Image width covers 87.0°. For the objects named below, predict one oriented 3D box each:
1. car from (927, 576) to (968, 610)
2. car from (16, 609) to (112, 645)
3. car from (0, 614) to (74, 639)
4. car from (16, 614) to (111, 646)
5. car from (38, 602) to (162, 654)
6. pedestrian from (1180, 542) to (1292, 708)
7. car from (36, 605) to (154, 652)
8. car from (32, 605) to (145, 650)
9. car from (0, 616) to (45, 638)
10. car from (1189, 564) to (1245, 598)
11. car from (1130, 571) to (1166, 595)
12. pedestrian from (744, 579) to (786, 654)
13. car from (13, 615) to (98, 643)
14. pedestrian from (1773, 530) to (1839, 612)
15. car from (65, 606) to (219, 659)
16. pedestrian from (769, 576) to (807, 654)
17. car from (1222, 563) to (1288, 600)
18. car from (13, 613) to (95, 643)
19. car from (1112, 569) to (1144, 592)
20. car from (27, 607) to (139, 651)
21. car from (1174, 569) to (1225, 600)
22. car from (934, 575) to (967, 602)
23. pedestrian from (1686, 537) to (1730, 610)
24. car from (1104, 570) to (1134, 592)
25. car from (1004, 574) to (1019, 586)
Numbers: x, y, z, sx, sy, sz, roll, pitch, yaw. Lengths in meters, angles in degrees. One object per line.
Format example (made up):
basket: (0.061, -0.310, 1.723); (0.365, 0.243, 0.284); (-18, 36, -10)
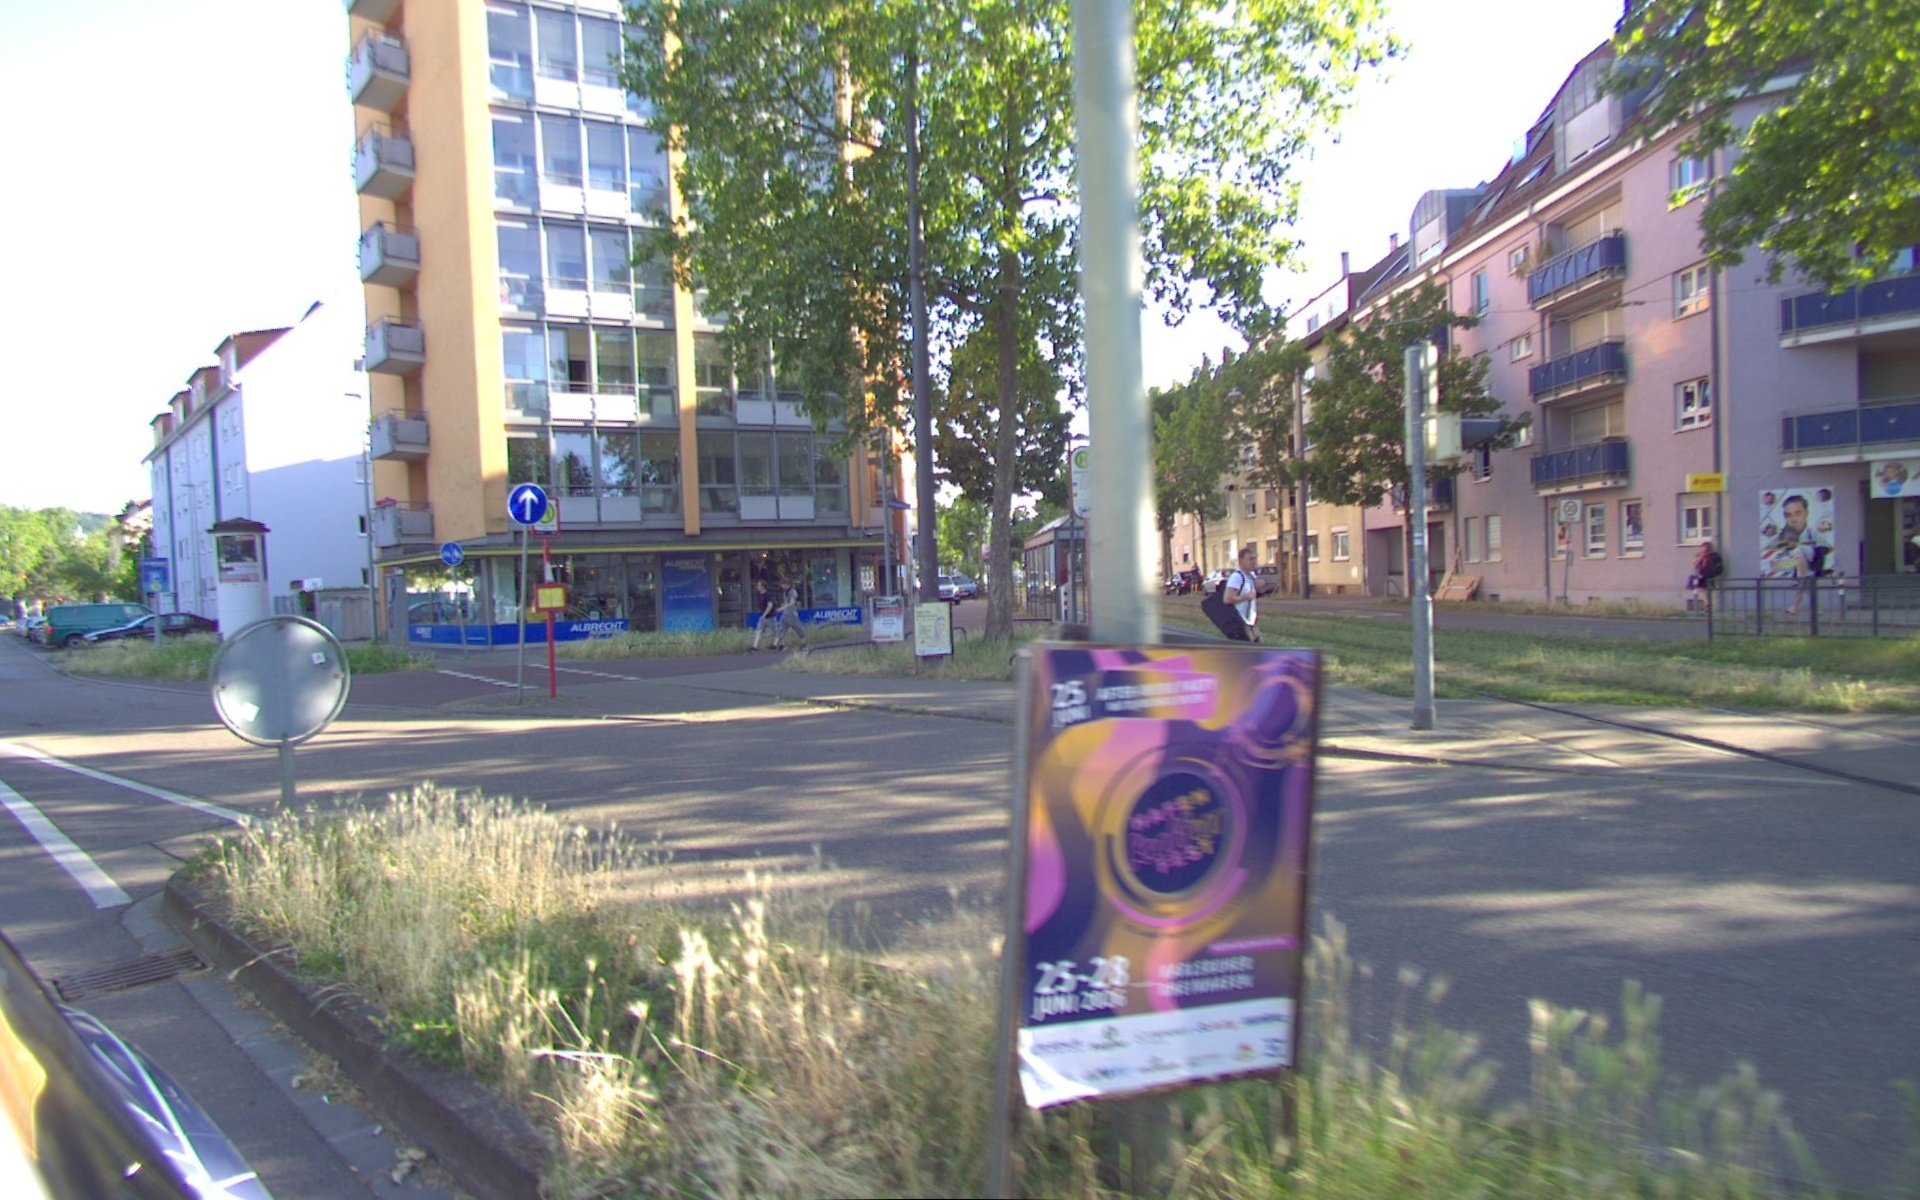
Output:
car: (-0.685, -0.401, 52.505); (2.021, 1.588, 4.048); (-2, 2, -1)
car: (-52.027, 1.541, 58.813); (4.060, 1.785, 1.758); (-4, 2, -43)
car: (-68.940, 1.975, 75.447); (4.198, 1.584, 1.868); (-4, 2, -43)
car: (-53.965, 1.755, 60.967); (4.198, 1.584, 1.868); (-4, 2, -43)
car: (-37.532, 1.185, 44.202); (3.941, 1.962, 2.002); (-4, 2, -44)
pedestrian: (3.094, 0.258, 11.290); (1.080, 1.750, 0.897); (-1, 2, 21)
car: (-39.347, 1.259, 46.060); (3.940, 1.829, 2.002); (-4, 2, -43)
car: (-41.330, 1.268, 48.060); (3.940, 1.829, 2.002); (-4, 2, -43)
car: (-79.915, 2.290, 85.745); (3.489, 1.584, 1.868); (-4, 2, -43)
car: (13.903, -1.064, 54.969); (1.911, 1.718, 3.826); (-2, 2, -1)
car: (13.709, -1.256, 74.045); (1.742, 1.588, 4.048); (-2, 2, -1)
pedestrian: (-4.676, 0.389, 24.292); (0.803, 1.763, 0.538); (-2, 2, 8)
car: (-61.291, 1.911, 68.610); (4.198, 1.584, 1.868); (-4, 2, -43)
pedestrian: (17.878, -0.610, 21.388); (0.911, 1.679, 0.621); (-2, 2, -13)
car: (-30.754, 1.168, 38.181); (4.360, 1.674, 2.004); (-4, 2, -39)
pedestrian: (-4.000, 0.346, 23.543); (0.623, 1.763, 0.688); (-2, 2, 8)
car: (14.617, -0.942, 50.395); (1.911, 1.718, 4.113); (-2, 2, -1)
car: (-61.424, 1.882, 68.666); (4.015, 1.764, 1.901); (-4, 2, -43)
car: (13.437, -1.562, 81.152); (1.809, 1.718, 4.058); (-2, 2, -1)
car: (-43.020, 1.389, 49.692); (4.002, 1.829, 1.939); (-4, 2, -43)
car: (14.048, -0.934, 59.585); (1.911, 1.718, 4.113); (-2, 2, -1)
car: (-0.643, -0.762, 64.948); (2.021, 1.588, 4.048); (-2, 2, -1)
pedestrian: (17.691, -0.625, 23.944); (0.542, 1.679, 0.621); (-2, 2, -6)
car: (13.522, -1.649, 86.340); (1.772, 1.718, 4.169); (-2, 2, -1)
car: (7.820, -3.053, 154.759); (1.911, 1.718, 4.371); (-2, 2, -1)
